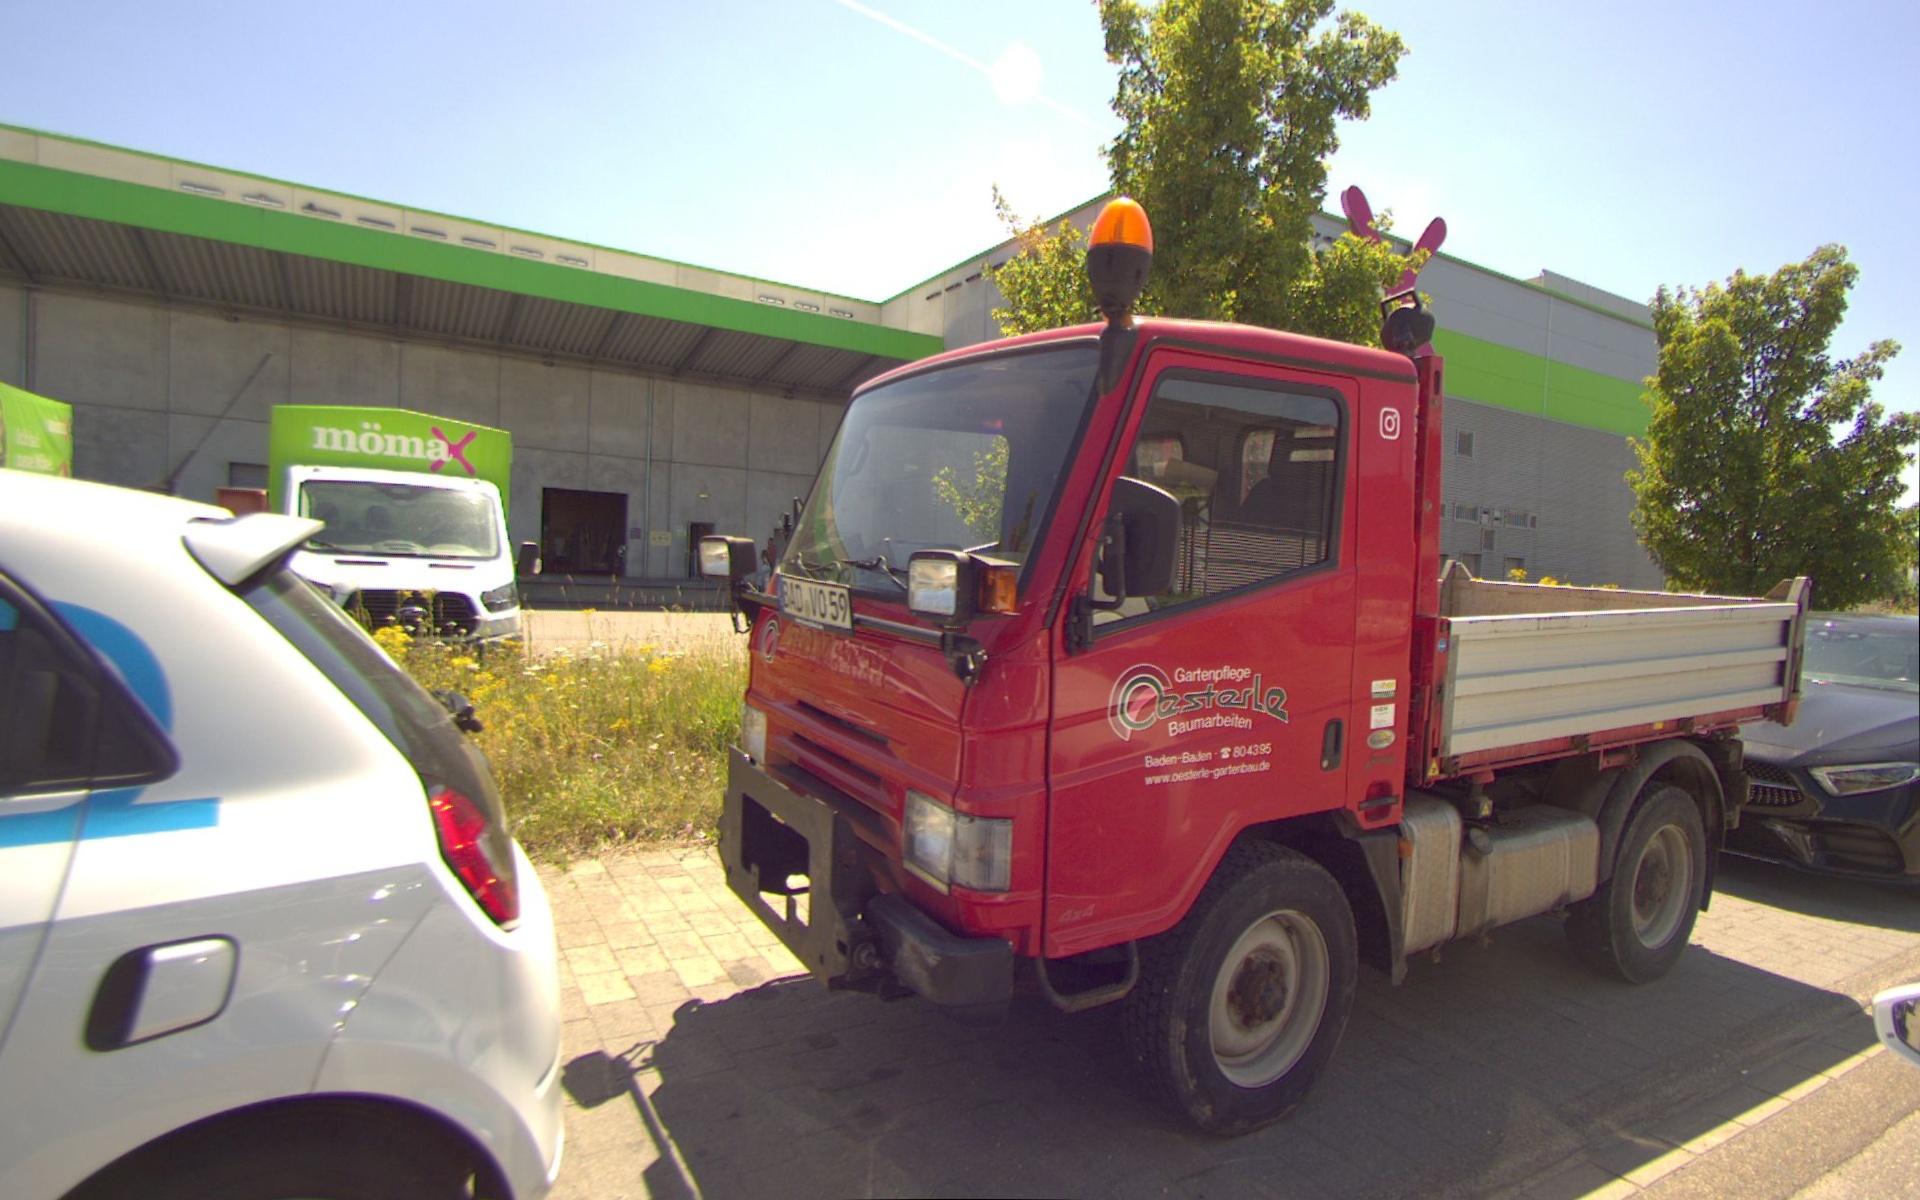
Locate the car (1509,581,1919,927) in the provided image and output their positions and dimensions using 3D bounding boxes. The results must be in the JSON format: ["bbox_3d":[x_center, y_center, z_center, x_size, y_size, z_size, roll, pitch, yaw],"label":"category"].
[{"bbox_3d":[5.831,0.733,6.497,4.700,1.463,1.841,2,3,-31],"label":"car"}]

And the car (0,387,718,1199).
[{"bbox_3d":[-2.475,0.454,1.409,3.727,1.572,1.840,1,3,-33],"label":"car"}]

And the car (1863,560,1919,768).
[{"bbox_3d":[10.700,0.660,9.420,4.929,1.782,1.842,2,3,-31],"label":"car"}]

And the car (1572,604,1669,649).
[{"bbox_3d":[22.034,0.898,33.479,3.202,1.370,1.423,2,2,-31],"label":"car"}]

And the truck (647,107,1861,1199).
[{"bbox_3d":[1.378,0.215,3.902,4.595,2.252,1.841,1,3,-32],"label":"truck"}]

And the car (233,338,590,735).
[{"bbox_3d":[-5.882,-0.593,10.725,2.492,2.965,5.942,1,2,-31],"label":"car"}]

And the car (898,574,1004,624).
[{"bbox_3d":[-0.348,-0.066,33.318,1.837,1.468,3.734,1,2,-32],"label":"car"}]

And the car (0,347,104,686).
[{"bbox_3d":[-9.686,-0.771,8.691,2.492,2.862,5.942,1,2,-31],"label":"car"}]
